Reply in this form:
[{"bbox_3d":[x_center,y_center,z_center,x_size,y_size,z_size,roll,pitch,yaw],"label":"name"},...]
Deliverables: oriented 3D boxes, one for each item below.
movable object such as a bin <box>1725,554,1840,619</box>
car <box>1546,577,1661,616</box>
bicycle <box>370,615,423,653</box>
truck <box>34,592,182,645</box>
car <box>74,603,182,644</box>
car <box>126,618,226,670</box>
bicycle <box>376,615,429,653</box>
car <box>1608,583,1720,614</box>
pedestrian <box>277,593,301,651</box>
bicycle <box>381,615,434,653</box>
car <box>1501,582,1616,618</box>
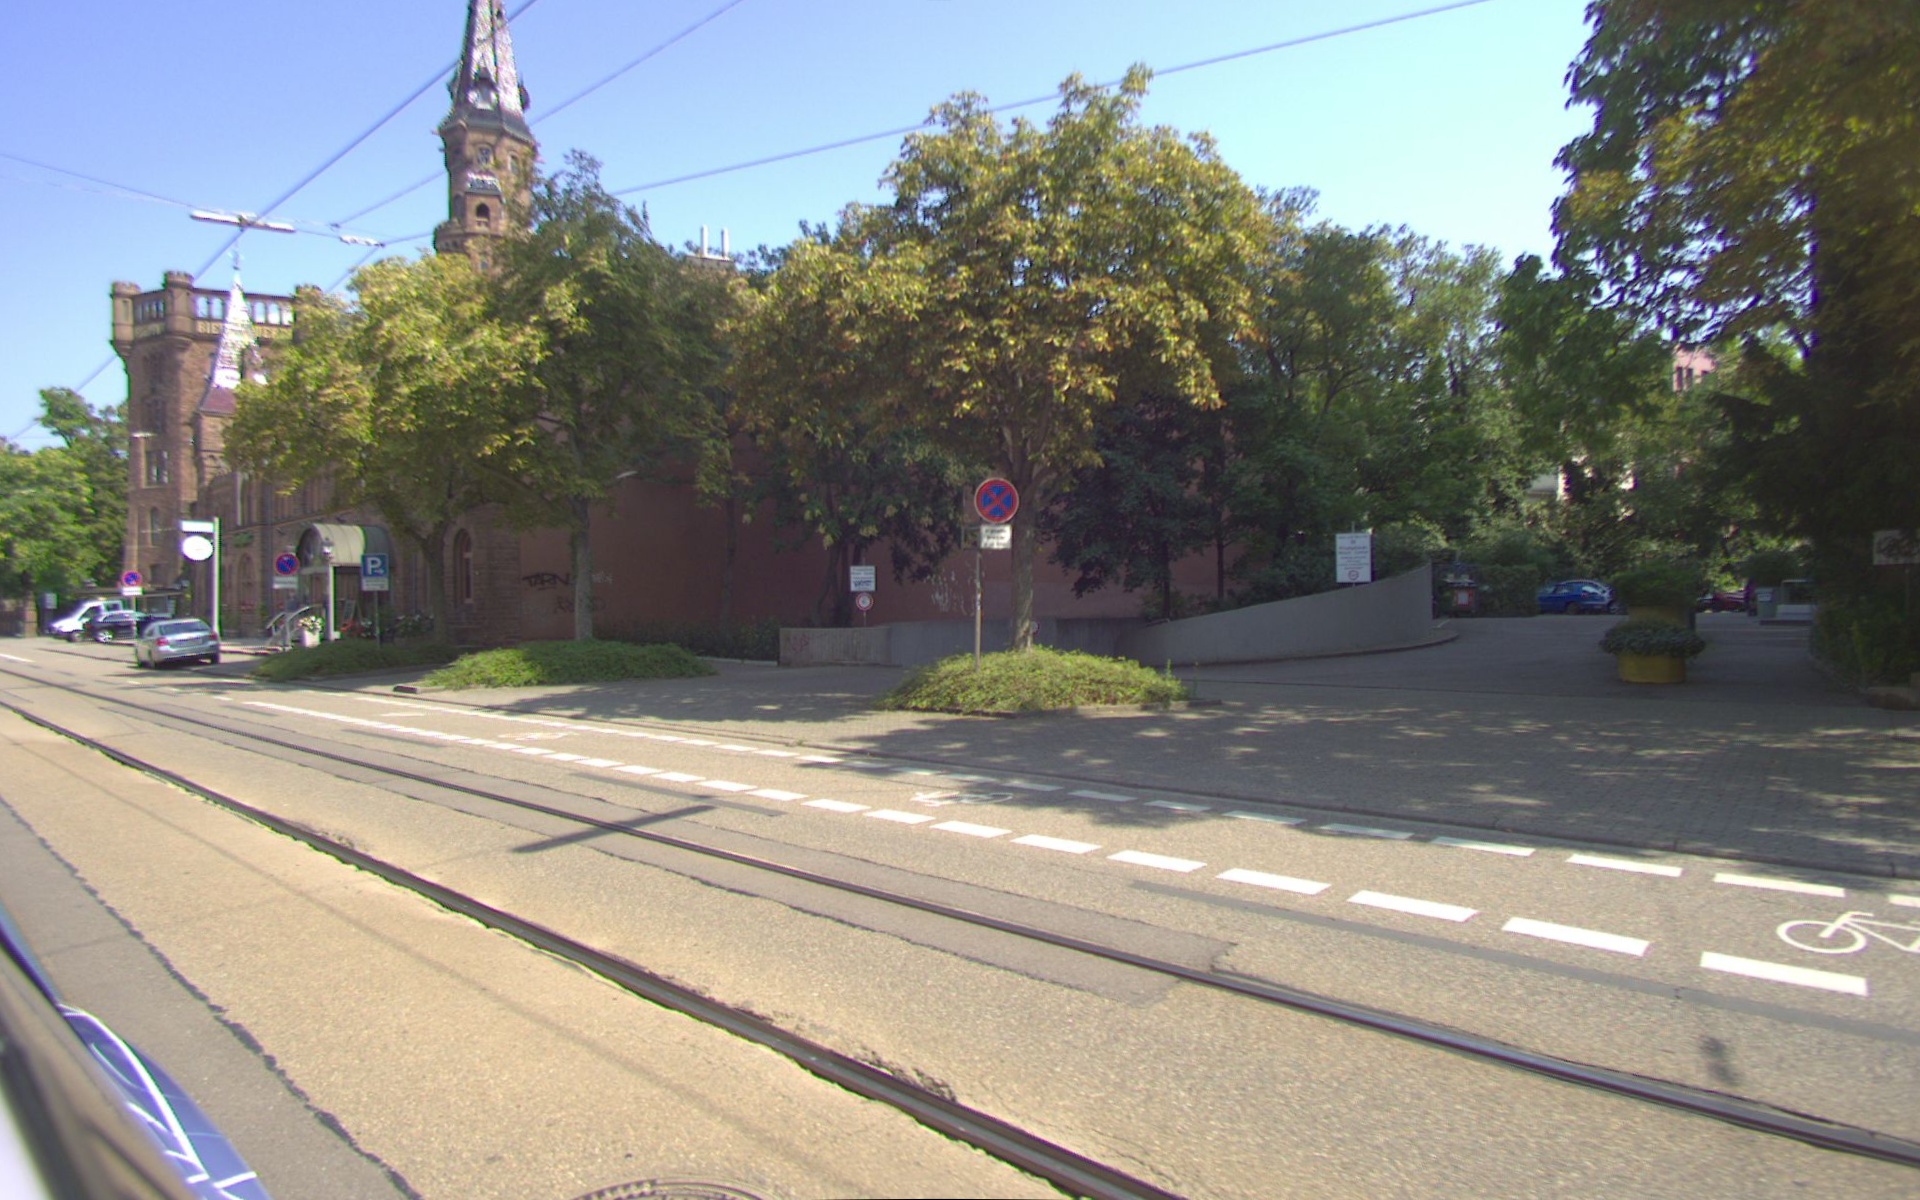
[{"bbox_3d":[30.864,-0.494,37.984,3.602,2.336,1.957,-1,0,-25],"label":"movable object such as a bin"},{"bbox_3d":[29.007,-0.147,45.702,1.811,1.686,4.008,-1,0,-37],"label":"car"},{"bbox_3d":[-18.272,1.097,32.848,0.376,1.069,1.434,-1,4,31],"label":"bicycle"},{"bbox_3d":[-51.090,1.076,60.841,2.316,2.543,6.428,-1,3,41],"label":"truck"},{"bbox_3d":[-46.484,1.278,56.583,2.000,1.810,4.350,-1,4,43],"label":"car"},{"bbox_3d":[-25.186,1.352,32.453,4.515,1.513,1.913,-1,-1,44],"label":"car"},{"bbox_3d":[-17.994,1.093,32.668,0.376,1.069,1.434,-1,4,31],"label":"bicycle"},{"bbox_3d":[33.398,-0.043,48.097,1.811,1.392,4.008,-1,0,-37],"label":"car"},{"bbox_3d":[-23.441,0.772,35.380,0.497,1.995,0.520,-1,0,-5],"label":"pedestrian"},{"bbox_3d":[-17.739,1.088,32.504,0.376,1.069,1.434,-1,4,31],"label":"bicycle"},{"bbox_3d":[26.539,0.005,45.005,1.811,1.497,4.008,-1,0,-37],"label":"car"}]
